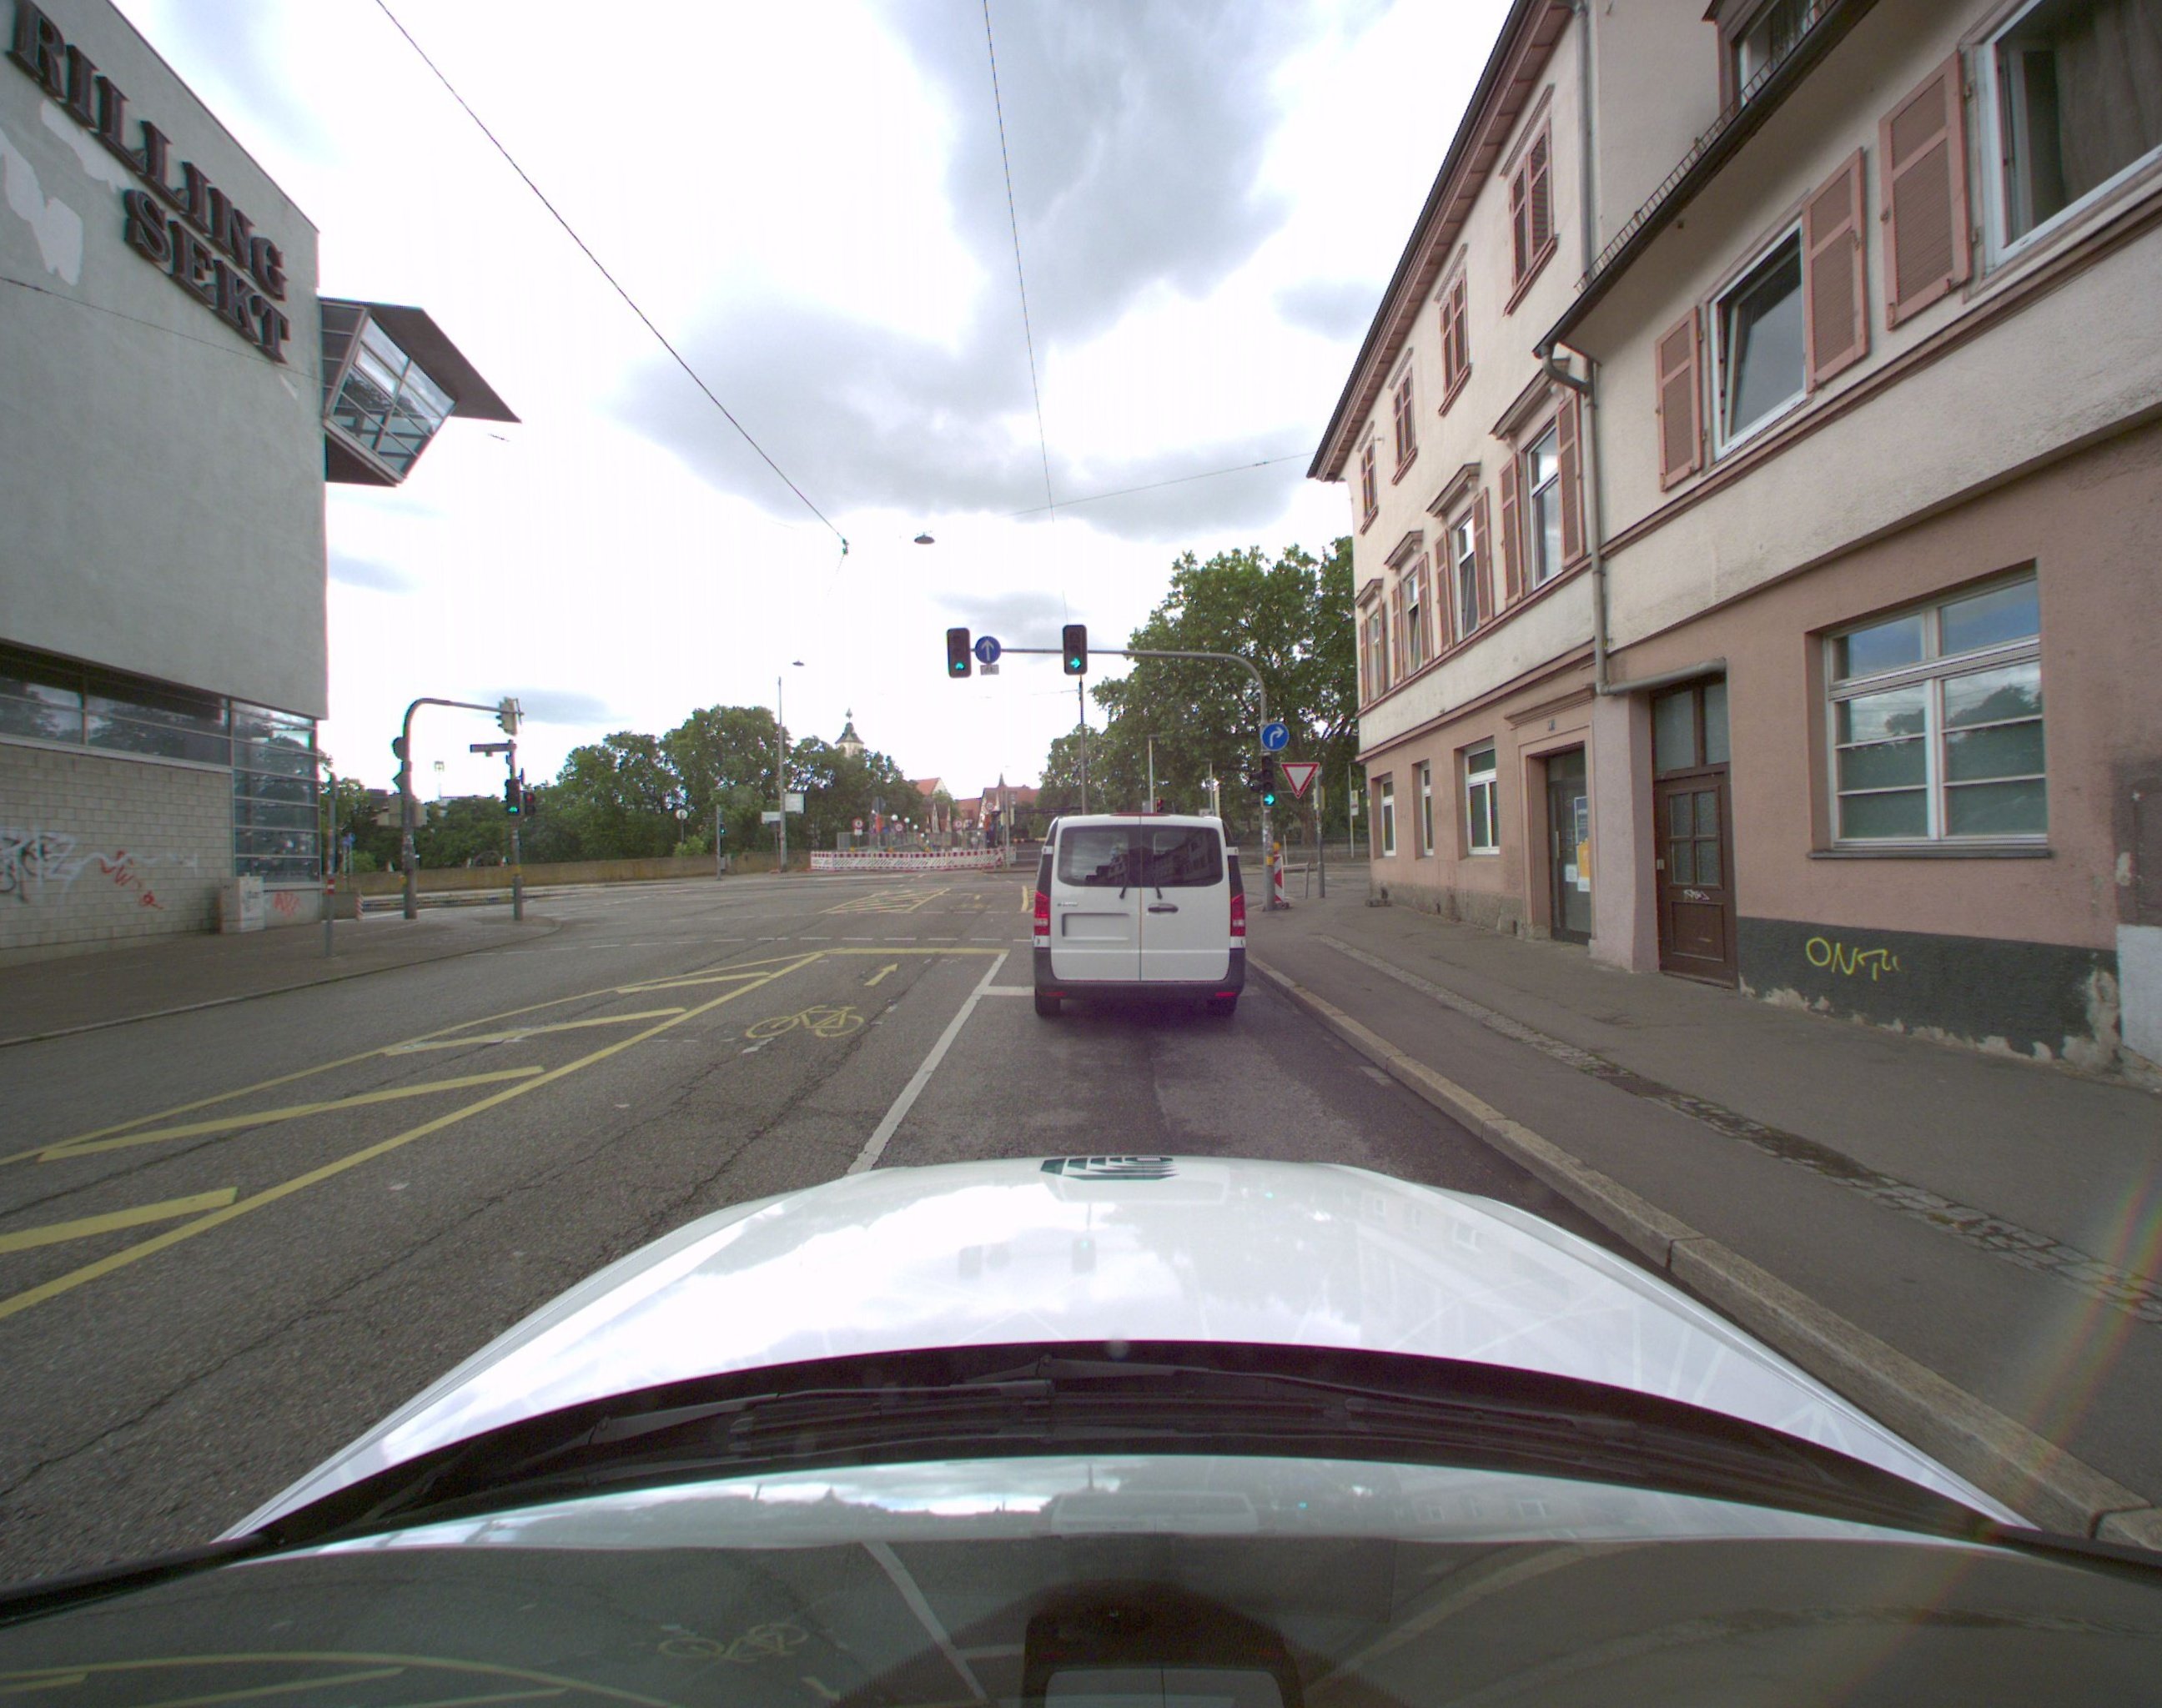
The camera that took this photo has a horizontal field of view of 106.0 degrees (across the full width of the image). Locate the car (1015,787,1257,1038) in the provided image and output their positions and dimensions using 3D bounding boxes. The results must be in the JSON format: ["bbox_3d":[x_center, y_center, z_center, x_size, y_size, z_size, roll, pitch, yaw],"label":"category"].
[{"bbox_3d":[0.522,0.423,8.926,1.943,2.013,4.700,0,1,2],"label":"car"}]
